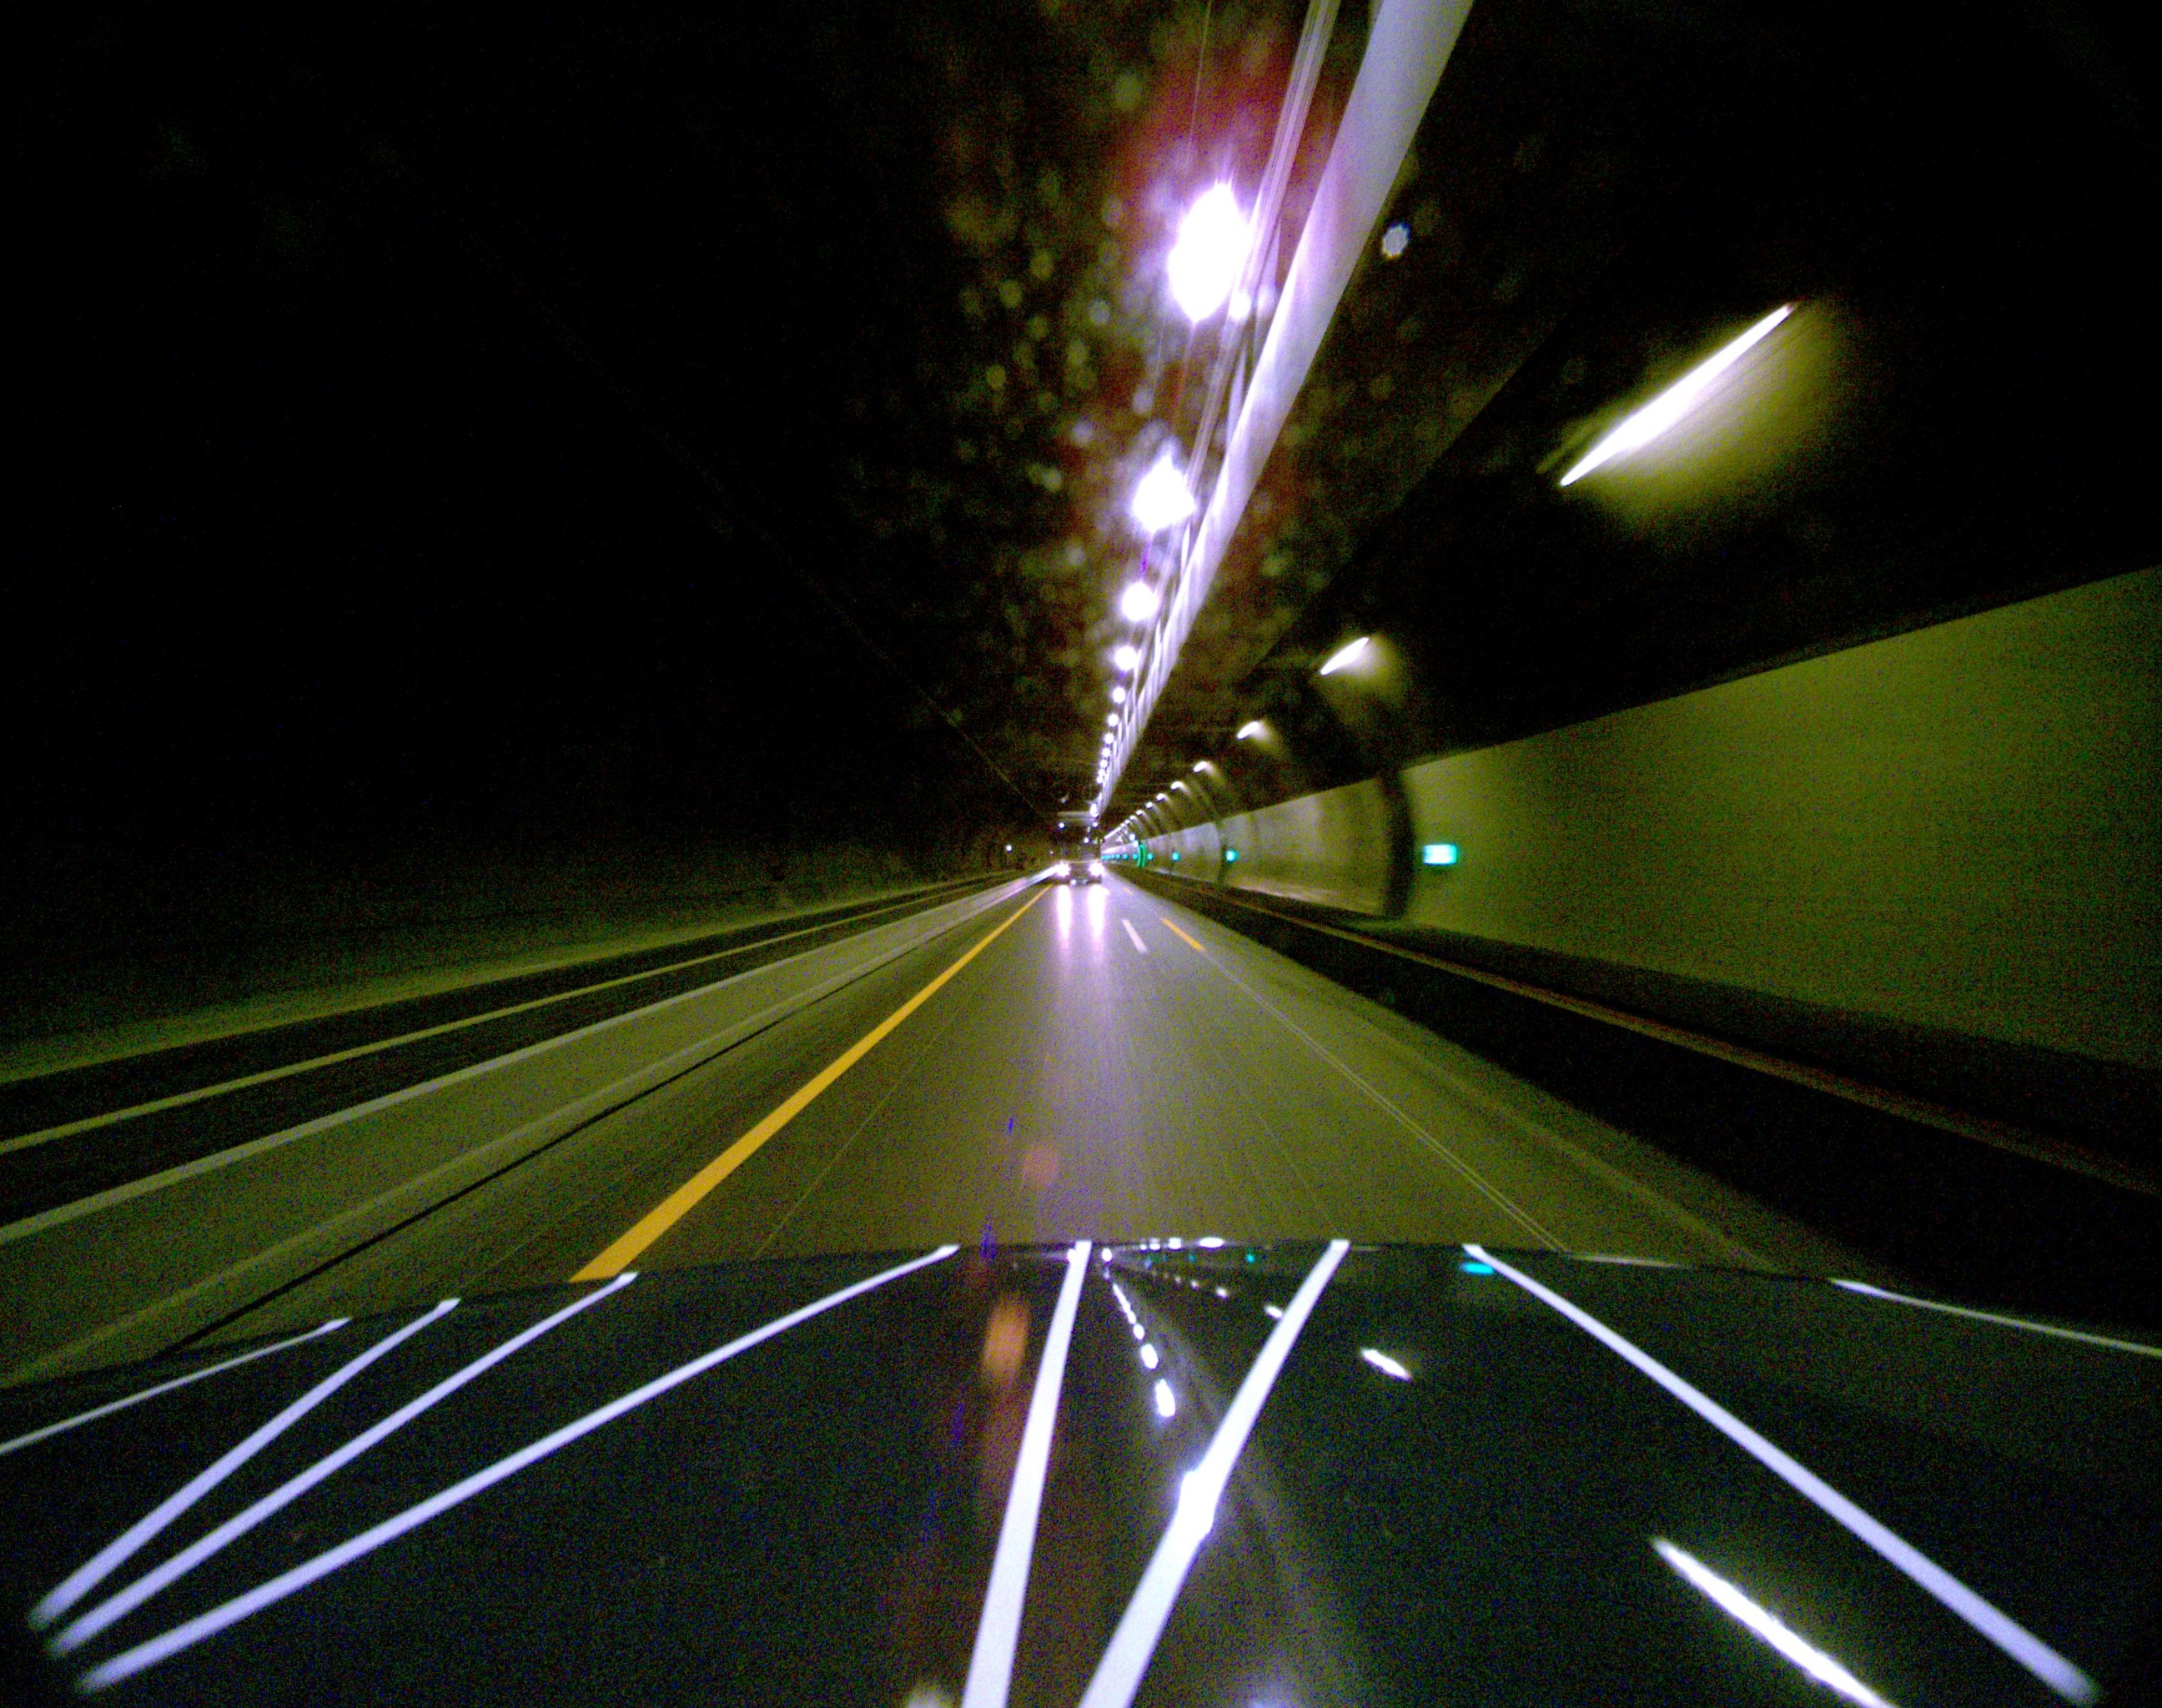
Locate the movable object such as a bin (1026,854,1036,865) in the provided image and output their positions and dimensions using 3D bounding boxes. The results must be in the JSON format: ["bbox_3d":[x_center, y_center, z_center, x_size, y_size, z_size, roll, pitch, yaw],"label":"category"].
[{"bbox_3d":[-7.764,0.834,118.256,1.306,1.584,3.055,2,0,0],"label":"movable object such as a bin"}]

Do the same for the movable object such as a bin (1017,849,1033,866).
[{"bbox_3d":[-7.455,0.487,100.695,1.688,2.133,4.627,-2,1,0],"label":"movable object such as a bin"}]

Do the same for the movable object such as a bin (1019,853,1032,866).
[{"bbox_3d":[-7.791,0.819,106.858,1.560,1.699,3.054,-2,1,0],"label":"movable object such as a bin"}]

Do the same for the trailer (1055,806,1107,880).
[{"bbox_3d":[0.018,-0.697,50.458,2.940,4.316,10.051,-2,1,0],"label":"trailer"}]

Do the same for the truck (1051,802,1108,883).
[{"bbox_3d":[-0.039,-0.673,44.907,2.951,4.338,6.674,-2,1,1],"label":"truck"}]

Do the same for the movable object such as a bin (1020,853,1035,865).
[{"bbox_3d":[-7.812,0.758,111.732,1.865,1.665,4.501,2,0,0],"label":"movable object such as a bin"}]
